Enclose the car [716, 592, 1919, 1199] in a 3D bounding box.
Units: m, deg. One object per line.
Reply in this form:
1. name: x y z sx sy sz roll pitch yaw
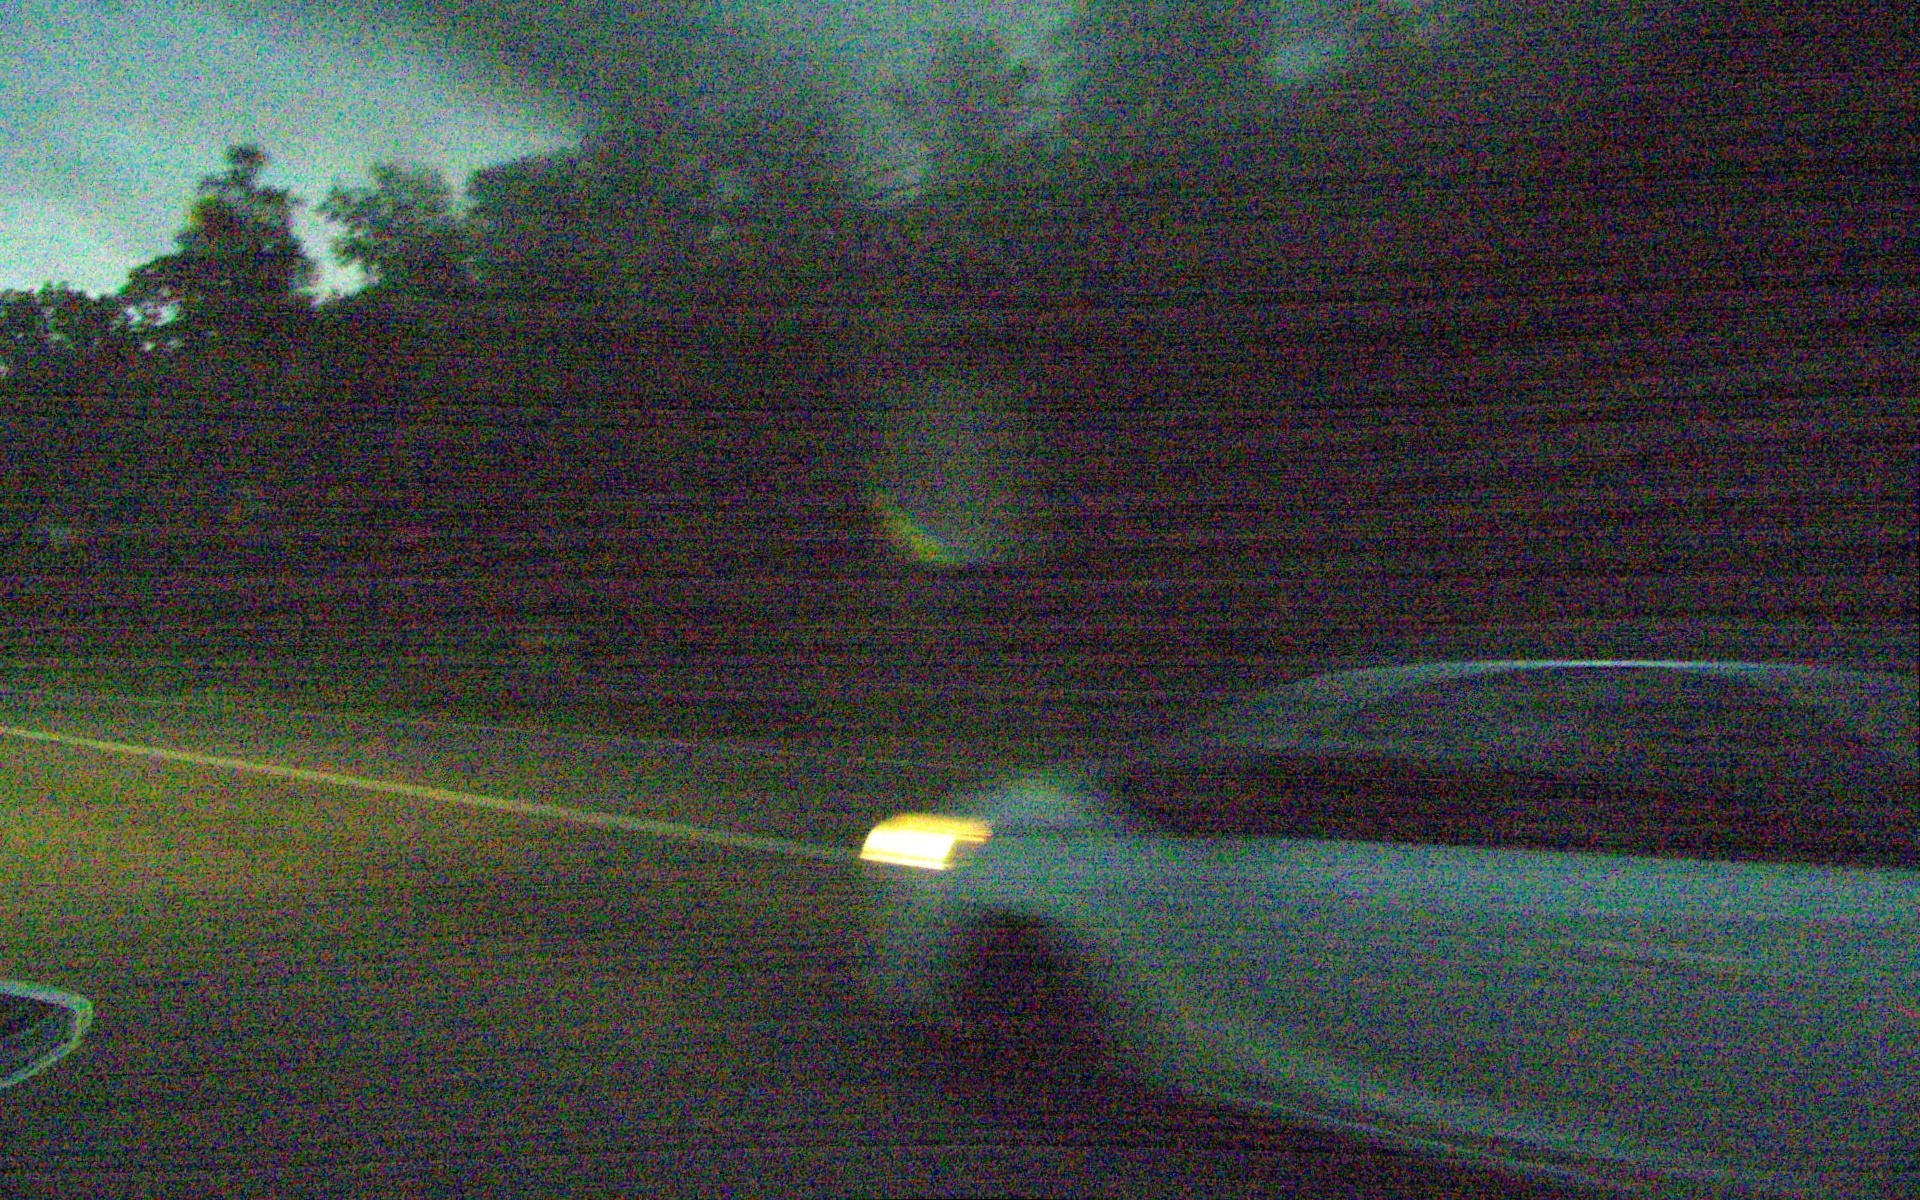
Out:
1. car: 1.535 0.747 3.067 4.329 1.495 1.824 1 1 28
